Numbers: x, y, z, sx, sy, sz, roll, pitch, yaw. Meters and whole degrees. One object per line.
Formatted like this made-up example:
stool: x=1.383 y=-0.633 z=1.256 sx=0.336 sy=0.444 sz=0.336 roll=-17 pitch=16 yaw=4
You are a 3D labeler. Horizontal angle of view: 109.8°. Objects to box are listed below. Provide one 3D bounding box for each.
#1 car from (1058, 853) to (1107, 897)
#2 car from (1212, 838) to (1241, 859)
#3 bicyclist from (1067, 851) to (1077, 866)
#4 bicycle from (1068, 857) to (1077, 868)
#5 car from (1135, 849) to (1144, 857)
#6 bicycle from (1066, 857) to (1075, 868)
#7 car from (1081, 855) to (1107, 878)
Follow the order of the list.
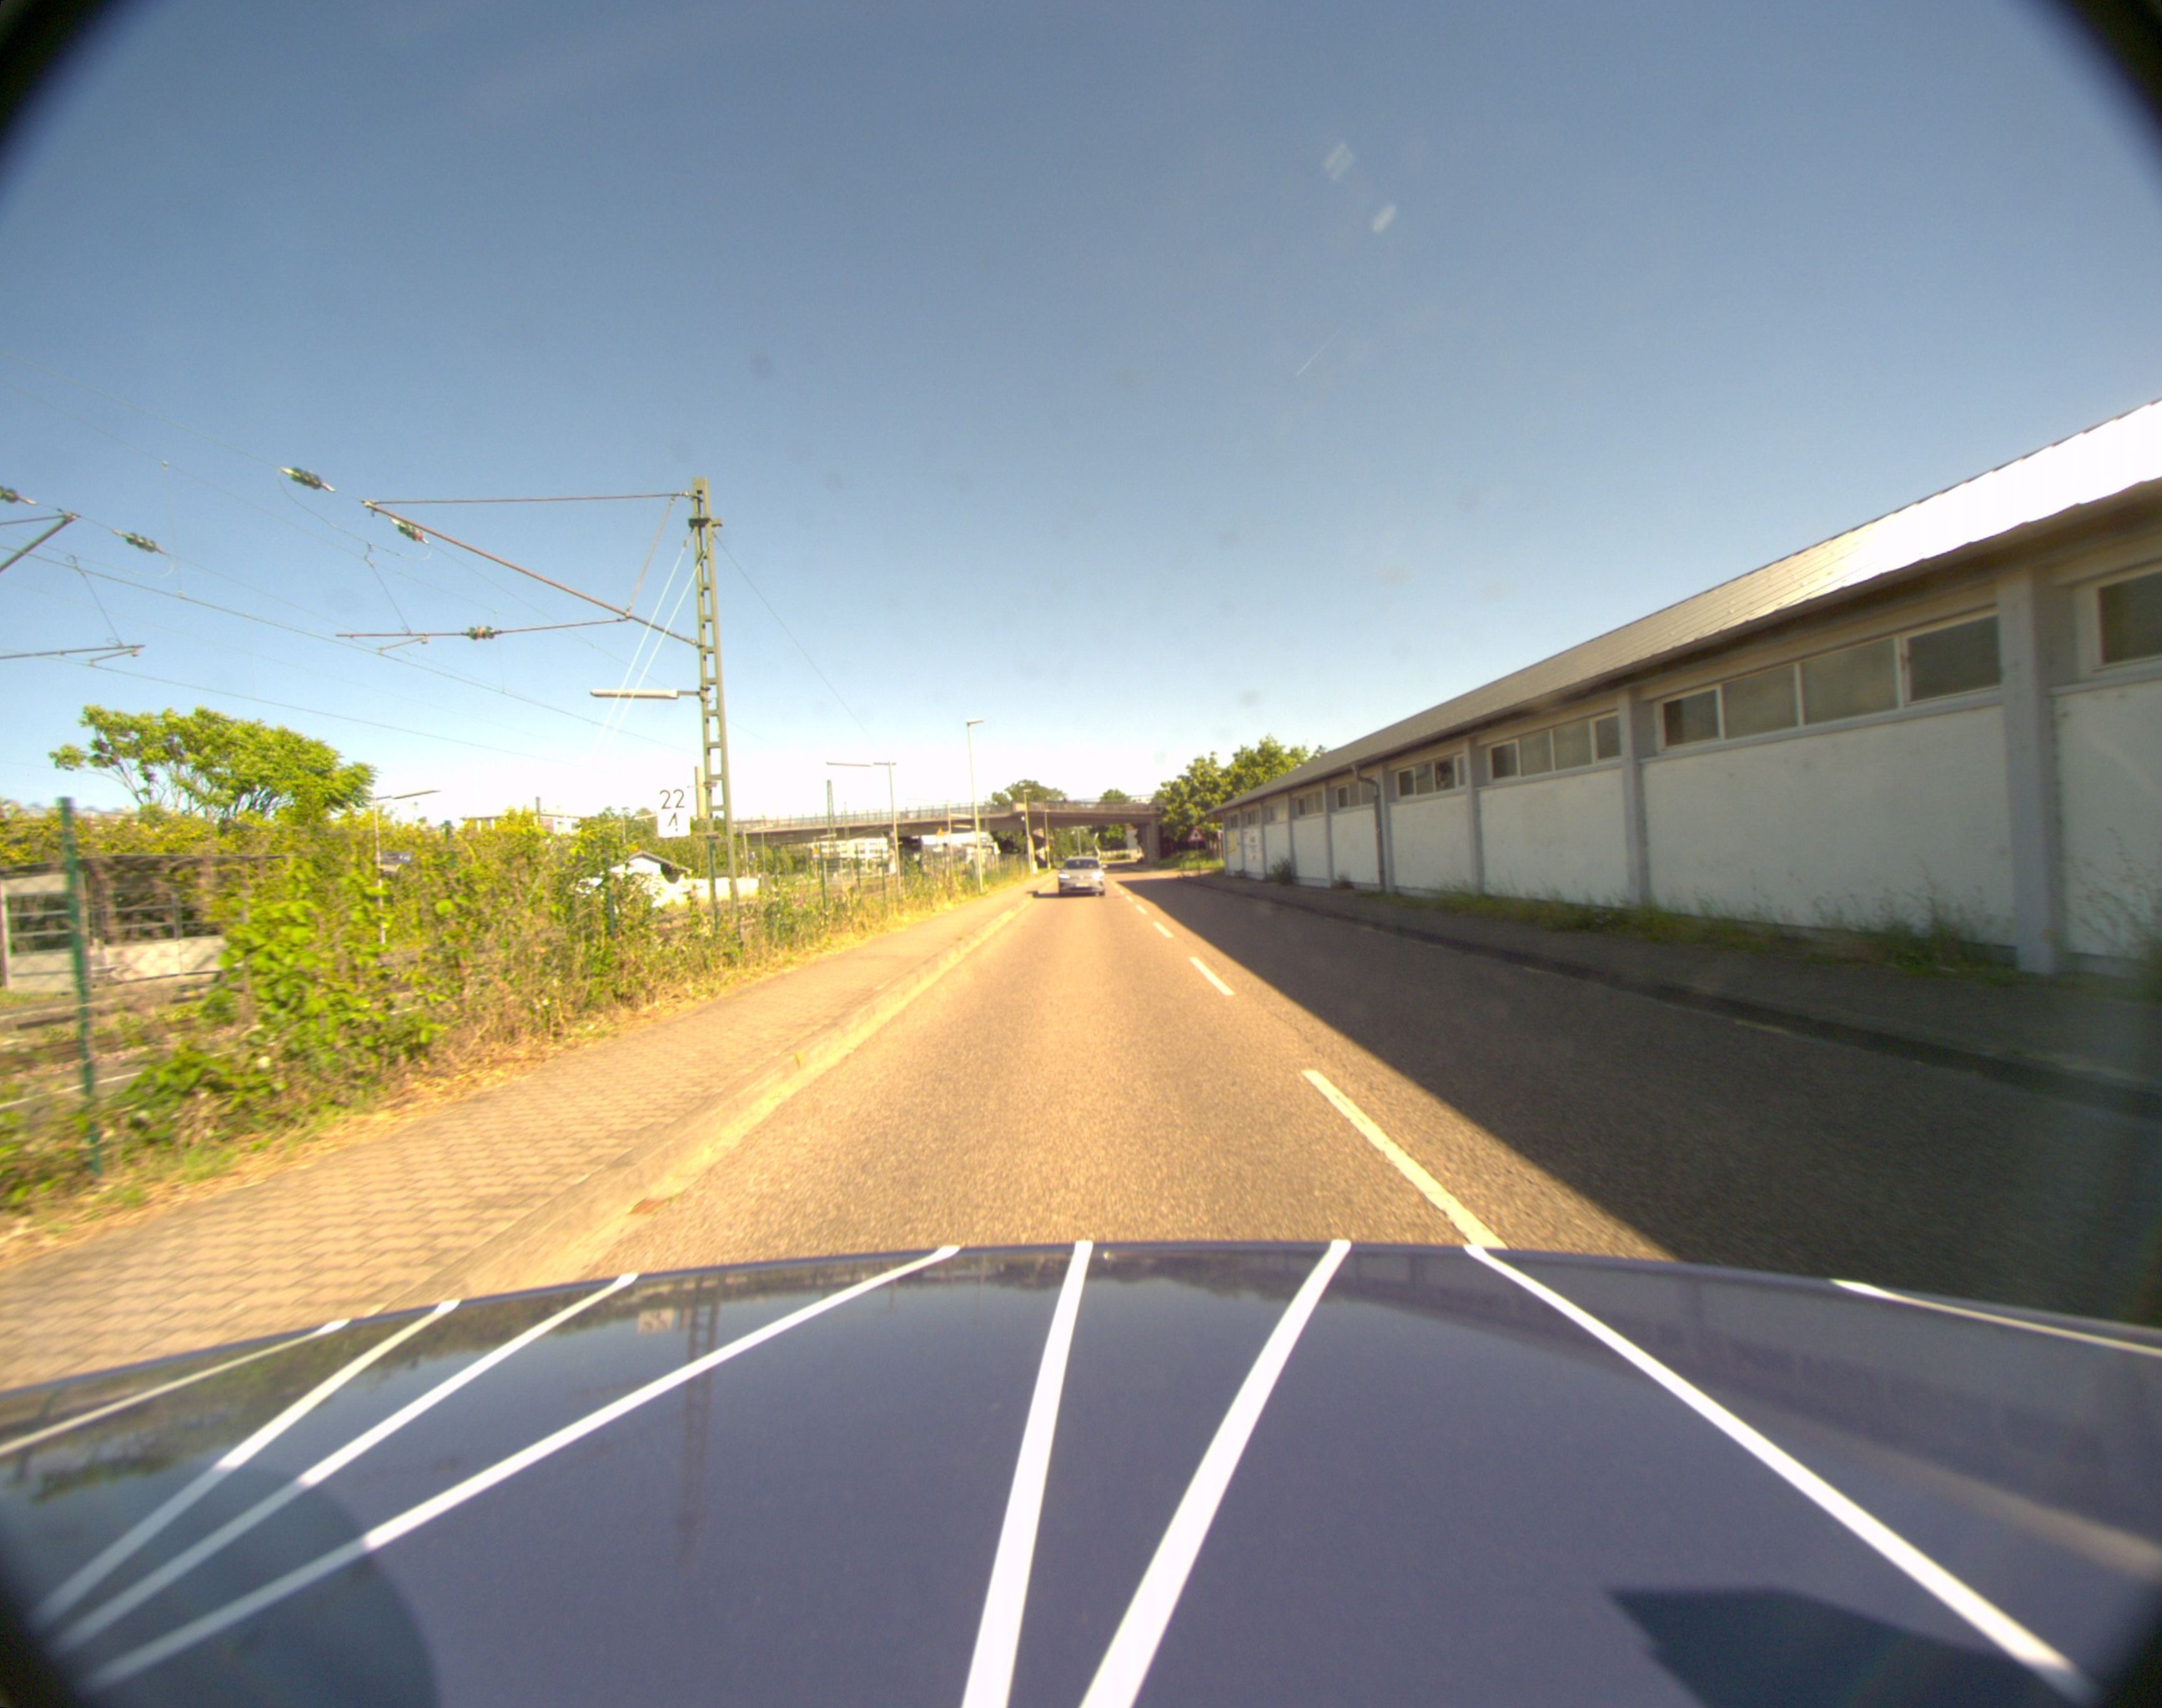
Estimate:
car: x=0.057 y=0.820 z=31.345 sx=1.850 sy=1.621 sz=4.295 roll=-2 pitch=0 yaw=0
car: x=19.754 y=-0.820 z=103.134 sx=1.942 sy=2.665 sz=6.020 roll=-3 pitch=-1 yaw=30
bicyclist: x=-0.903 y=0.481 z=77.364 sx=0.843 sy=1.480 sz=0.923 roll=-3 pitch=1 yaw=-3
bicycle: x=-0.879 y=0.903 z=77.249 sx=0.843 sy=1.045 sz=2.189 roll=-3 pitch=0 yaw=-2
car: x=13.980 y=-0.306 z=181.354 sx=1.998 sy=1.767 sz=4.367 roll=-3 pitch=0 yaw=6
bicycle: x=-1.076 y=0.902 z=79.821 sx=0.843 sy=1.045 sz=2.189 roll=-3 pitch=0 yaw=-2
car: x=1.008 y=0.968 z=59.939 sx=1.850 sy=1.621 sz=4.295 roll=-3 pitch=0 yaw=0
